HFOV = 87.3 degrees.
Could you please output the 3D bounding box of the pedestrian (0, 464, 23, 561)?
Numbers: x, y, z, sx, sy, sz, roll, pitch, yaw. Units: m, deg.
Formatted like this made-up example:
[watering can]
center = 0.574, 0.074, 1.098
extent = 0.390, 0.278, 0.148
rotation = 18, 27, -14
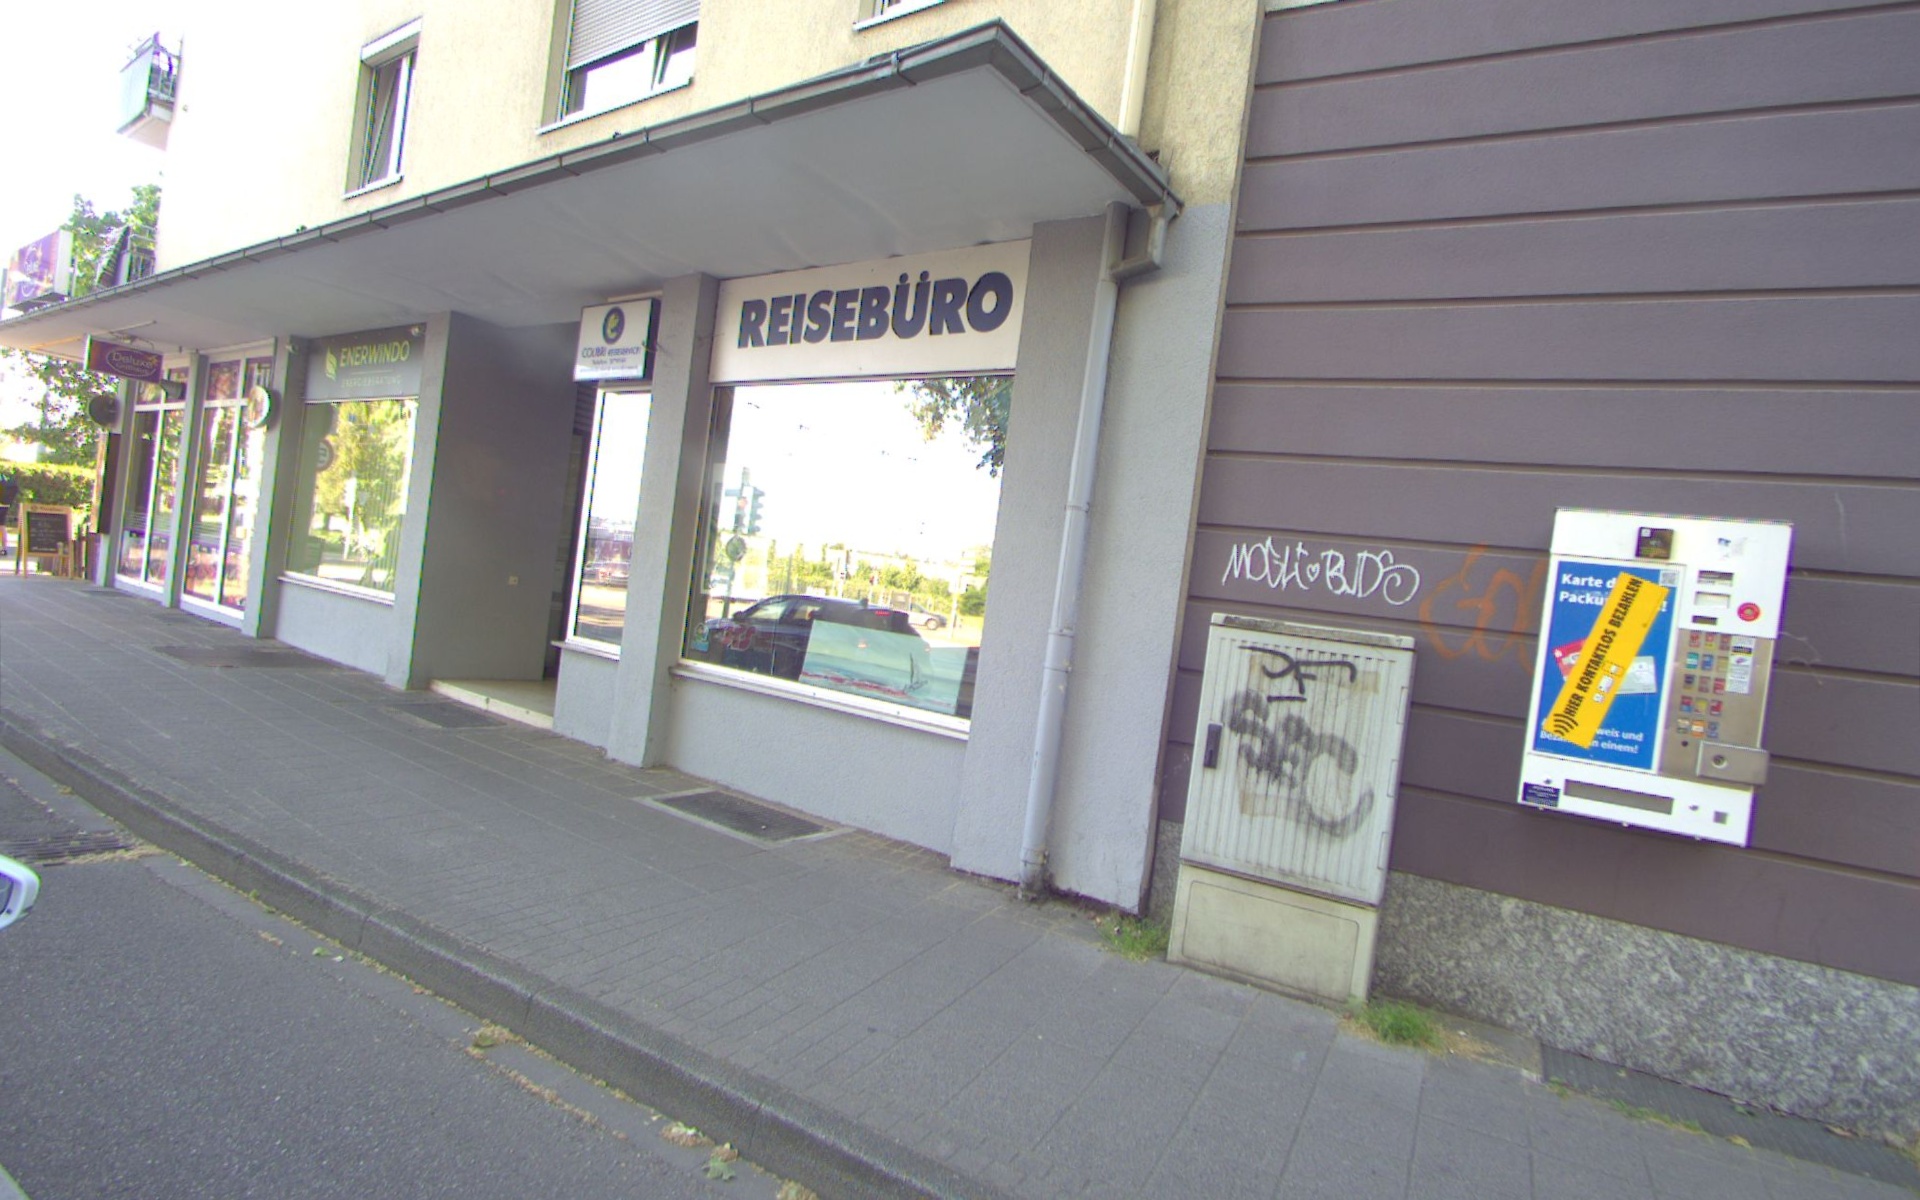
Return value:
[pedestrian]
center = -18.893, -1.726, 19.635
extent = 0.630, 1.841, 0.738
rotation = 8, -1, -38
